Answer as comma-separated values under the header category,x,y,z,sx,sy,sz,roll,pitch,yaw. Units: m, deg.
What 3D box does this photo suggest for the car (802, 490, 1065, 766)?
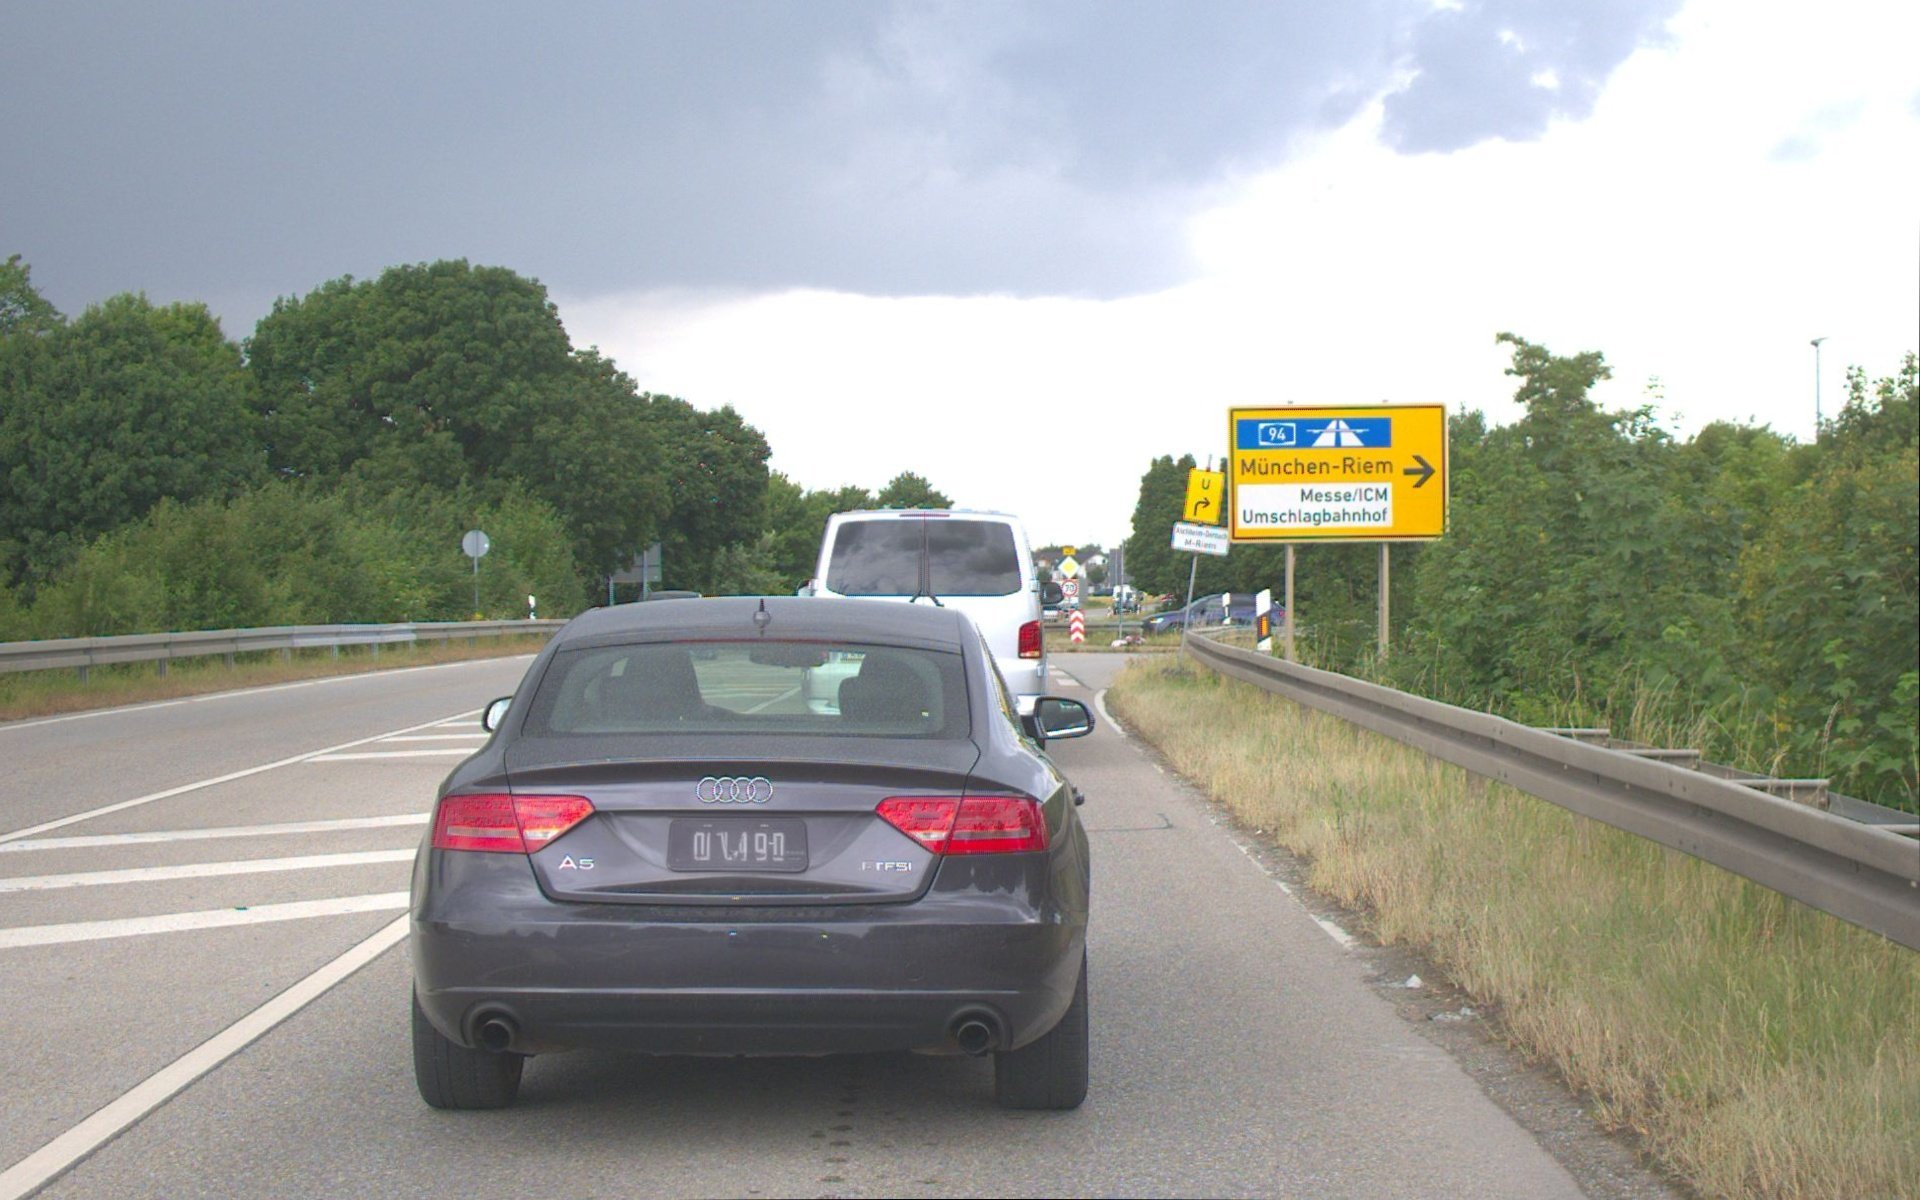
category,x,y,z,sx,sy,sz,roll,pitch,yaw
car,-0.212,0.189,27.323,1.910,2.007,4.000,1,1,0

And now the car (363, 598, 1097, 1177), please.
category,x,y,z,sx,sy,sz,roll,pitch,yaw
car,-0.578,0.701,10.042,1.779,1.394,3.336,0,0,-1

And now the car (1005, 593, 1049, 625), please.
category,x,y,z,sx,sy,sz,roll,pitch,yaw
car,3.568,0.470,182.648,2.205,1.577,4.379,1,1,0

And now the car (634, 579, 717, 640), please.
category,x,y,z,sx,sy,sz,roll,pitch,yaw
car,-6.734,0.208,81.805,1.622,1.375,4.512,0,1,0
